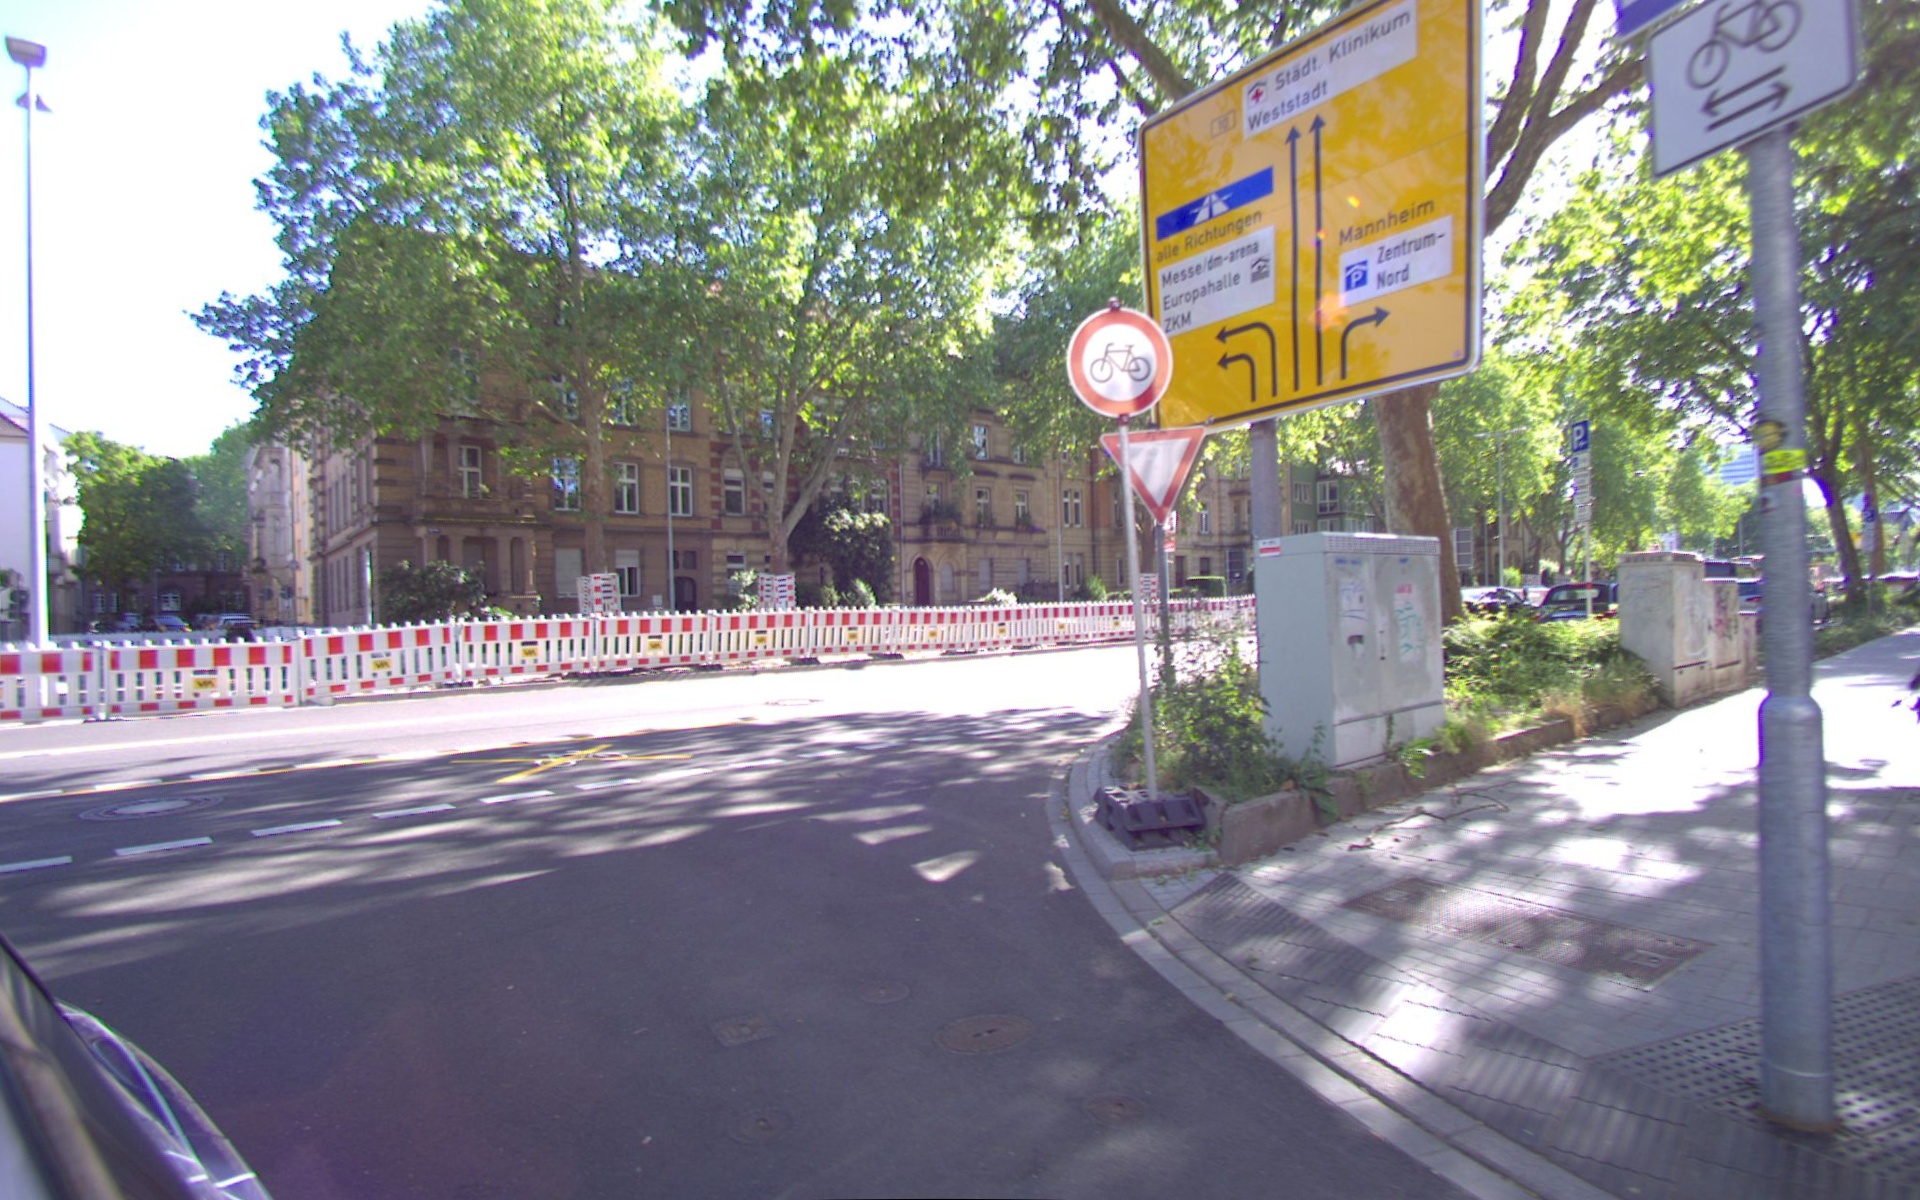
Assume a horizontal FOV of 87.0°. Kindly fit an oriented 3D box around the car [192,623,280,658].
[{"bbox_3d":[-37.348,2.060,52.238,3.621,1.662,1.603,-1,-1,-39],"label":"car"}]

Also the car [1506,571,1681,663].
[{"bbox_3d":[12.182,0.300,19.370,3.939,1.580,1.780,-1,-2,-42],"label":"car"}]

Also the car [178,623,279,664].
[{"bbox_3d":[-34.177,2.006,47.344,3.743,1.749,1.626,-1,-1,-39],"label":"car"}]

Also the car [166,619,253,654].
[{"bbox_3d":[-41.070,1.978,55.408,3.743,1.749,1.626,-1,-1,-39],"label":"car"}]

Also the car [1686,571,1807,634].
[{"bbox_3d":[21.513,0.061,27.630,3.937,1.580,1.781,-1,-1,-40],"label":"car"}]

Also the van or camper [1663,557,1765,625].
[{"bbox_3d":[28.027,-0.318,37.587,4.469,2.363,2.255,-1,0,-43],"label":"van or camper"}]

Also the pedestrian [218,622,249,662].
[{"bbox_3d":[-31.148,1.778,43.394,0.823,1.673,0.754,-2,-1,24],"label":"pedestrian"}]
